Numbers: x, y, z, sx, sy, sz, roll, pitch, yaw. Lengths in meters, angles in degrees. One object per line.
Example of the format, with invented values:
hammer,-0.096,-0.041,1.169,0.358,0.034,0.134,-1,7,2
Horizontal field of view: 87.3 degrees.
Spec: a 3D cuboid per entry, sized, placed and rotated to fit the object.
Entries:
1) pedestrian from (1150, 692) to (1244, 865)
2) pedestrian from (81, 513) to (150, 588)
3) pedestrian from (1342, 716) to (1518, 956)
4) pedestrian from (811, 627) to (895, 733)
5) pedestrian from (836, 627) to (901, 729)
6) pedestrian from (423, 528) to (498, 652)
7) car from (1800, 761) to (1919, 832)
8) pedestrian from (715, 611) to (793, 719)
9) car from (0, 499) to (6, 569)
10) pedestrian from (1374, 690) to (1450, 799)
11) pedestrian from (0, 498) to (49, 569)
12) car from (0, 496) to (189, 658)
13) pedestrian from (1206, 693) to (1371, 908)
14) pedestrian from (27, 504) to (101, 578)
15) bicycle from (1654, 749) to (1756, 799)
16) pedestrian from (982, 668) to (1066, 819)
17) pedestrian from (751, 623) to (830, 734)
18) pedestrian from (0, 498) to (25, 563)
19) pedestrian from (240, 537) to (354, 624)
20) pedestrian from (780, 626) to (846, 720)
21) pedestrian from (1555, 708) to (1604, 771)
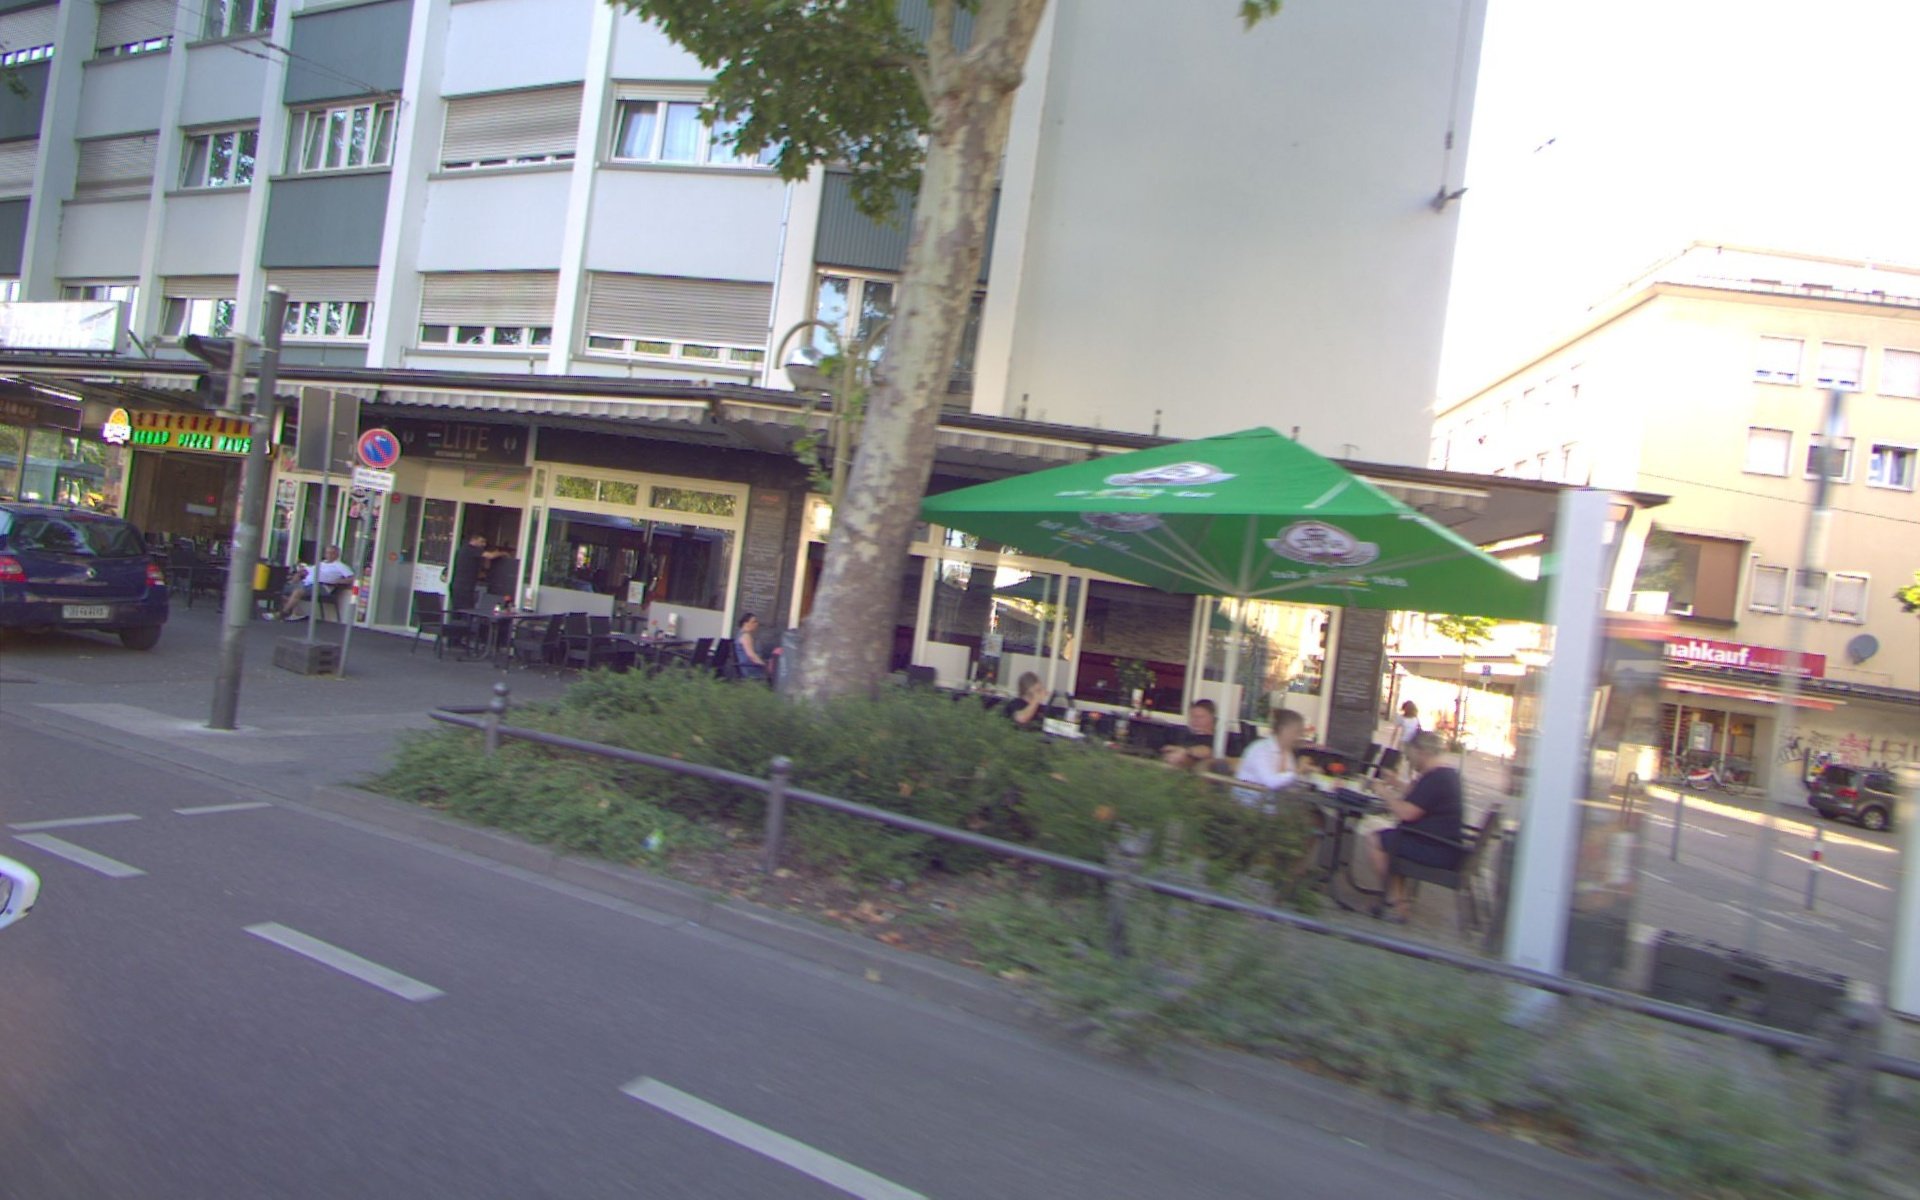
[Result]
pedestrian,1.854,1.388,7.912,0.460,1.235,0.432,7,1,-5
pedestrian,-14.426,-0.846,17.183,0.739,1.172,0.594,7,2,26
pedestrian,3.026,1.461,6.462,0.756,1.300,0.717,7,-1,37
pedestrian,-1.376,1.017,12.987,0.704,1.233,0.666,9,1,19
pedestrian,-1.235,1.046,13.525,0.515,1.259,0.547,8,1,-32
pedestrian,-7.444,-0.142,15.006,0.579,1.758,0.597,8,2,23
car,26.754,5.726,28.640,3.924,1.503,1.740,8,-2,8
pedestrian,-2.657,0.827,13.047,0.704,1.267,0.650,9,1,0
car,-14.290,-0.826,12.720,3.776,1.447,1.671,8,1,20
pedestrian,7.580,2.409,16.916,0.682,1.641,0.909,8,-1,3
pedestrian,-17.900,-1.262,19.155,0.700,1.260,0.615,7,2,34
car,-10.546,-0.359,11.059,3.539,1.485,1.623,8,1,22
pedestrian,2.312,1.368,7.077,0.757,1.300,0.717,7,-1,38
pedestrian,-16.392,-1.071,18.403,0.687,1.236,0.863,7,2,39
bicycle,23.575,5.495,31.860,2.493,1.130,0.717,8,0,4
pedestrian,0.563,1.266,8.950,0.426,1.233,0.466,9,-1,-20
pedestrian,-2.063,0.940,12.366,0.638,1.213,0.846,9,1,2
pedestrian,-18.804,-1.386,19.609,0.693,1.219,0.677,7,2,35
pedestrian,-10.447,-0.288,15.876,0.765,1.248,1.204,7,2,27
pedestrian,-1.985,0.980,13.690,0.638,1.144,0.717,9,1,0
pedestrian,20.845,4.677,33.858,0.889,1.903,0.952,8,-1,8
